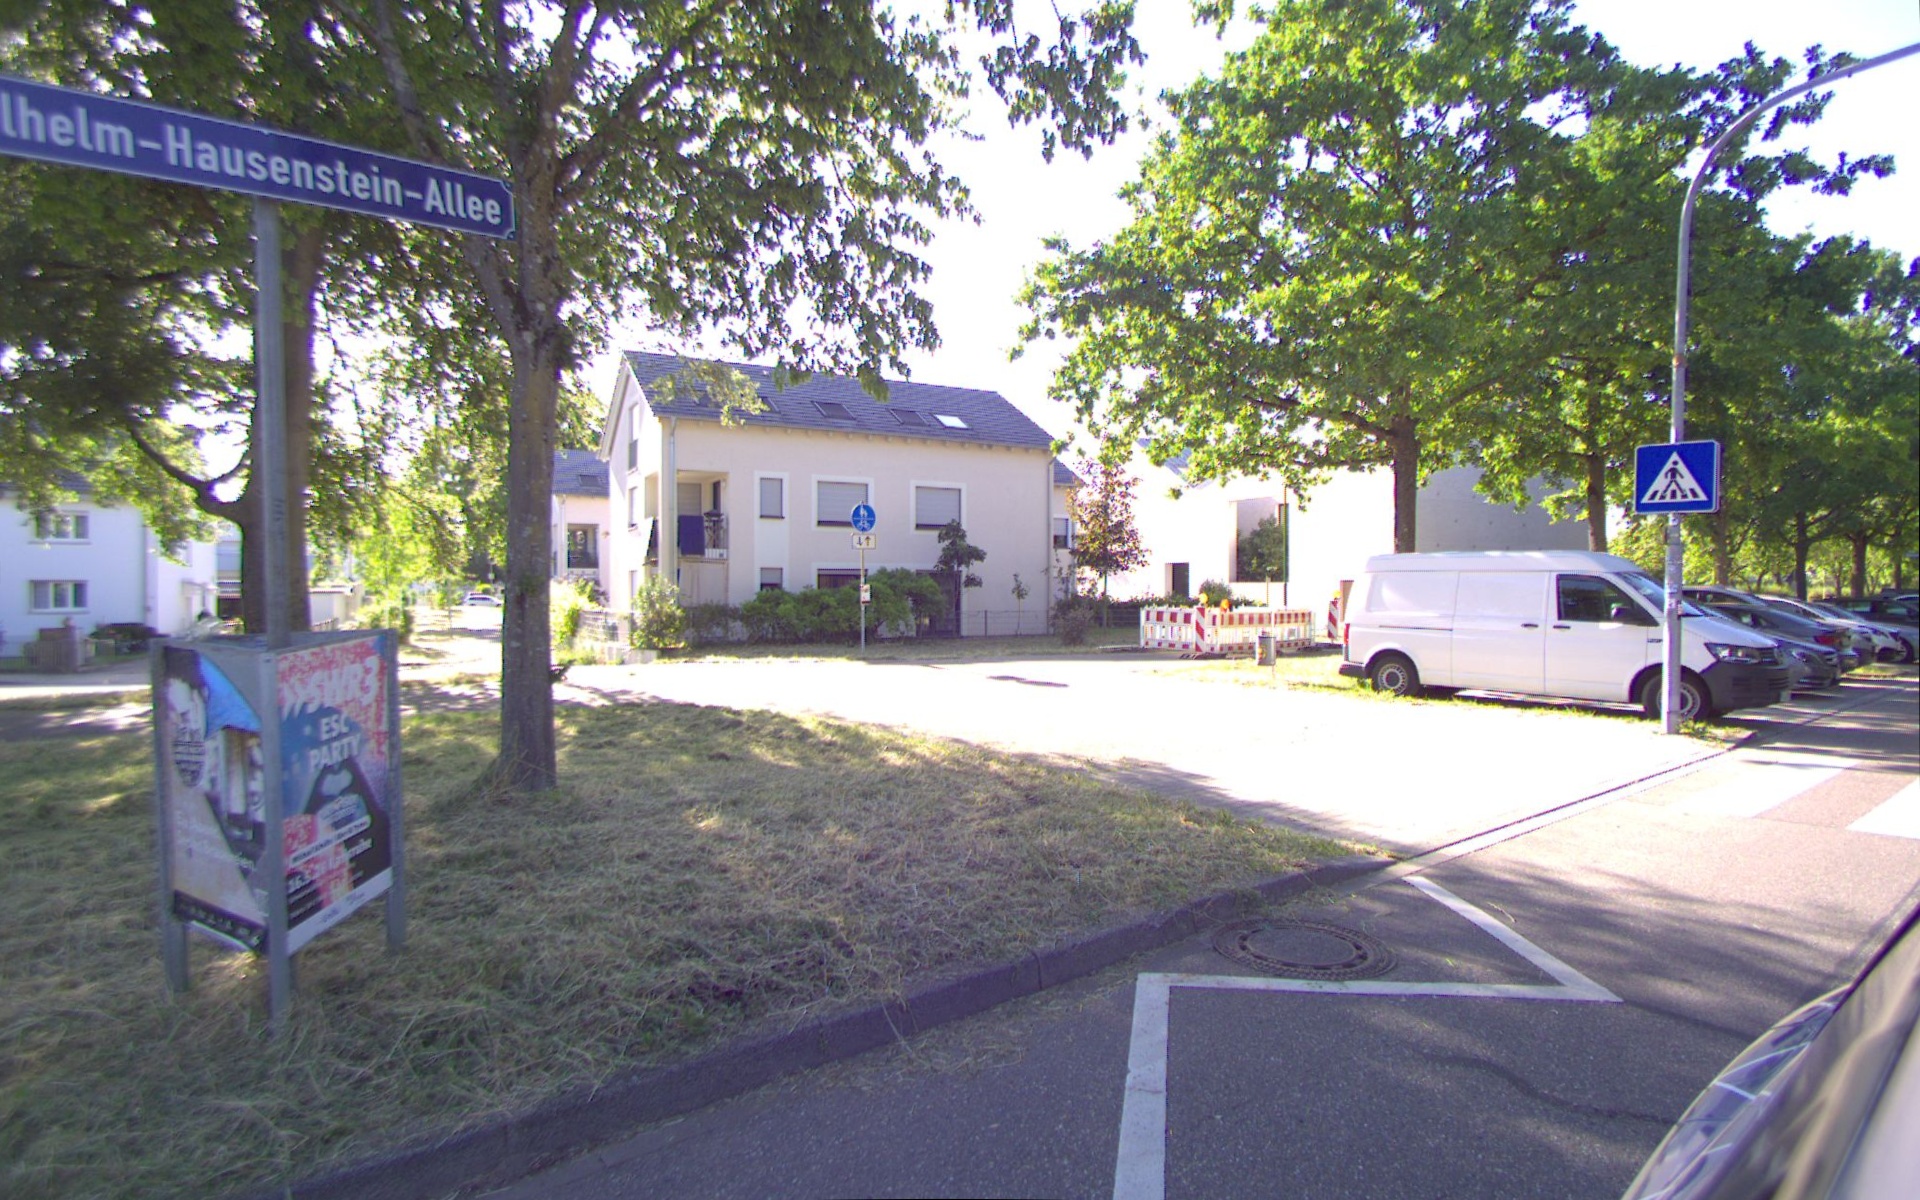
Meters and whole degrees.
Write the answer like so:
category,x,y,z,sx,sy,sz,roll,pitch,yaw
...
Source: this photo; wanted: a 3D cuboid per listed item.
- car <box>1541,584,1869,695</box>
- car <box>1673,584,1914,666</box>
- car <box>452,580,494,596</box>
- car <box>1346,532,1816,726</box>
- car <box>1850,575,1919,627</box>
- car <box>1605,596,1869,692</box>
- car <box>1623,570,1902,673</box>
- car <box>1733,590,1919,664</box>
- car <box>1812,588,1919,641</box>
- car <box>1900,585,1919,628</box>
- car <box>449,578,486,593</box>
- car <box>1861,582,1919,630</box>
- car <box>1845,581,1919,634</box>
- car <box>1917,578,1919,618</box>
category,x,y,z,sx,sy,sz,roll,pitch,yaw
car,12.014,0.564,16.561,1.725,1.583,3.997,0,0,-37
car,18.926,0.532,23.156,1.504,1.700,4.020,0,0,-37
car,-62.569,-1.507,130.064,4.543,2.039,1.995,0,0,-43
car,8.001,0.272,13.557,1.857,2.107,5.045,0,1,-39
car,37.900,0.047,39.616,1.504,2.013,4.396,0,0,-37
car,13.875,0.716,18.238,1.421,1.561,3.517,0,0,-37
car,15.693,0.388,19.971,1.681,1.816,4.020,0,0,-37
car,21.506,0.620,24.632,1.504,1.681,4.020,0,0,-37
car,30.415,0.447,32.537,1.504,1.662,4.396,0,0,-37
car,41.493,0.250,41.297,1.504,1.765,4.396,0,0,-37
car,-68.346,-1.942,140.497,4.524,2.039,2.003,0,0,-24
car,35.892,0.210,36.859,1.504,1.765,4.396,0,0,-37
car,32.936,0.245,34.151,1.504,1.765,4.396,0,0,-37
car,43.625,-0.108,42.774,1.504,1.765,4.396,0,0,-37
